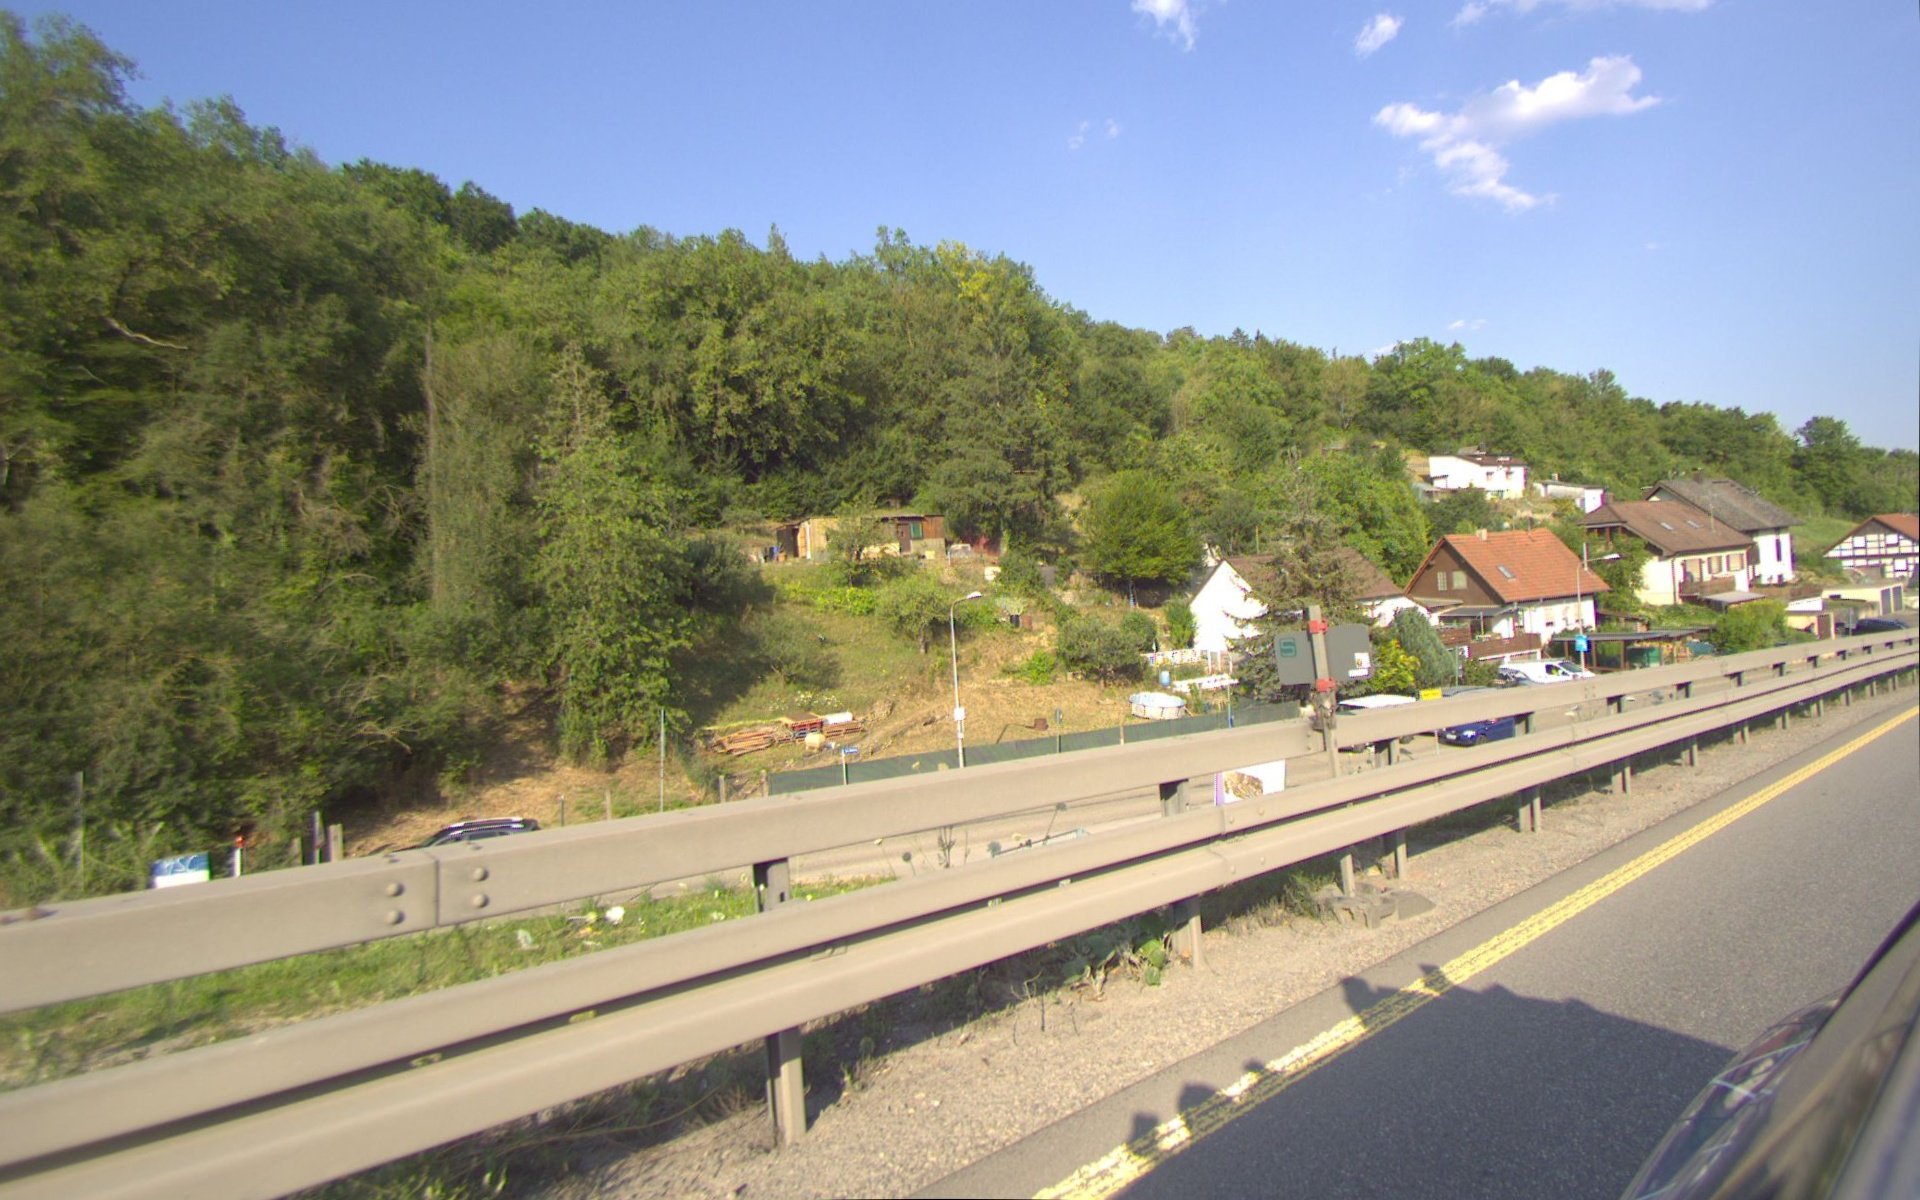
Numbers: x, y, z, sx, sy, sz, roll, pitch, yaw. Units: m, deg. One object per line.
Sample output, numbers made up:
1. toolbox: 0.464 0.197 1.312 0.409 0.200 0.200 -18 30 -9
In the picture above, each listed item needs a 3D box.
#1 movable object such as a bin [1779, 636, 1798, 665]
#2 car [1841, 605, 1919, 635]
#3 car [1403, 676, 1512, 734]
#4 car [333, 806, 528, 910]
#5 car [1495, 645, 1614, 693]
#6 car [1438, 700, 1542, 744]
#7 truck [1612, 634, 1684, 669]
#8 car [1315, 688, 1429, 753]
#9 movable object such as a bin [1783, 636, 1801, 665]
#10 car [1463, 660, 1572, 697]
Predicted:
1. movable object such as a bin: 52.812 3.237 64.523 0.405 1.794 0.491 -3 -8 -25
2. car: 70.202 1.503 76.876 1.960 1.542 4.519 -4 8 -29
3. car: 22.736 4.757 46.237 4.766 1.940 2.005 -3 3 -28
4. car: -13.830 6.726 26.729 4.405 1.807 1.872 0 0 -24
5. car: 33.683 3.852 57.531 1.961 2.292 5.489 -3 1 -30
6. car: 22.454 5.147 42.934 3.541 1.619 1.776 0 -3 -12
7. truck: 42.389 3.144 62.457 1.968 1.760 3.988 -7 -2 10
8. car: 17.749 5.103 43.555 4.953 2.010 1.870 -3 3 -30
9. movable object such as a bin: 53.192 3.254 64.701 0.405 1.794 0.491 -3 -8 -25
10. car: 30.609 4.280 55.748 1.682 1.576 5.111 -3 1 -30
